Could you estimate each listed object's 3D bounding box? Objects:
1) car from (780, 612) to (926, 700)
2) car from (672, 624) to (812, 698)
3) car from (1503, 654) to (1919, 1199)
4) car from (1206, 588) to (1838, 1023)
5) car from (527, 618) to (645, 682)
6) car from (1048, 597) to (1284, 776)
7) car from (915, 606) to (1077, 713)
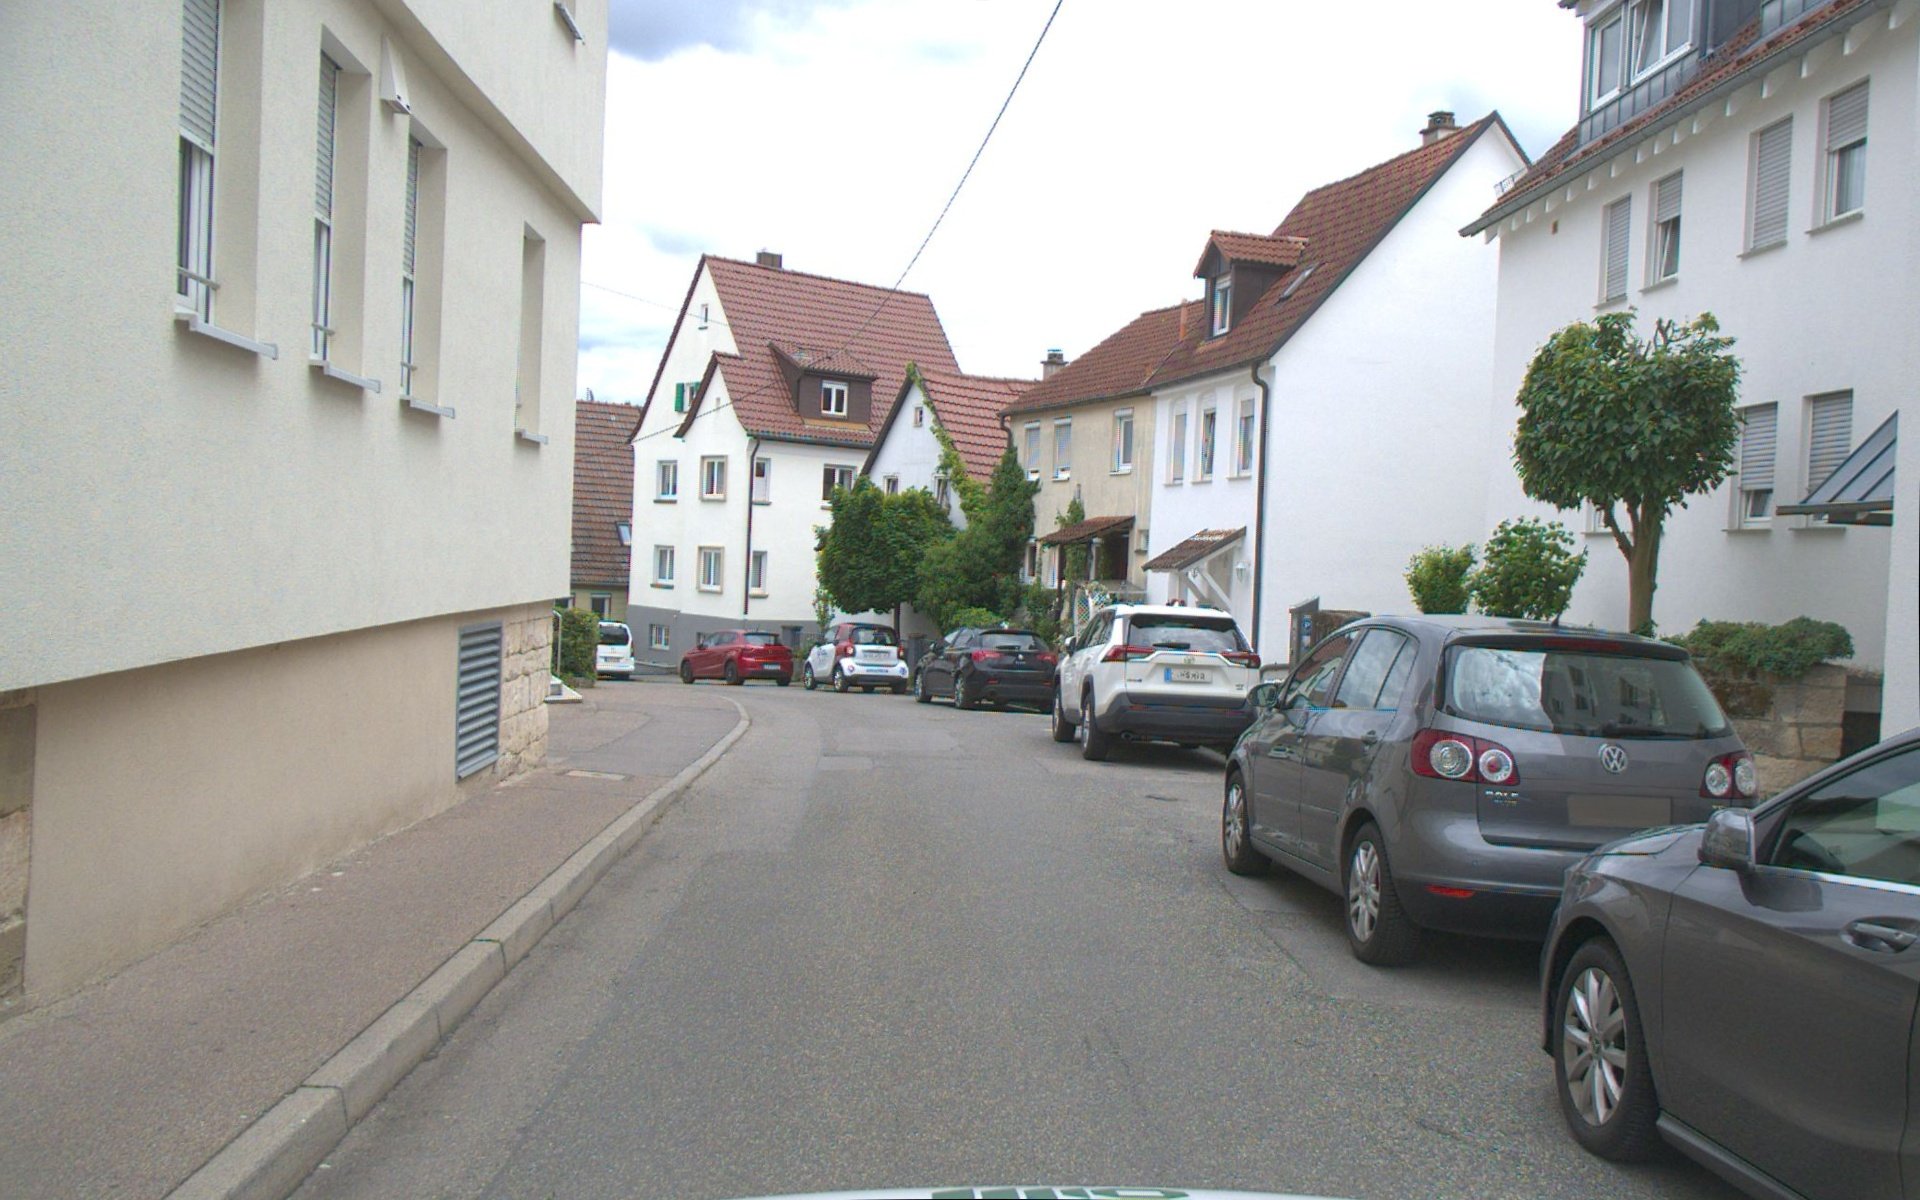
[{"bbox_3d":[-2.537,1.257,38.319,1.939,1.743,3.967,2,1,-26],"label":"car"},{"bbox_3d":[-5.811,1.604,43.672,1.978,1.713,3.949,-4,0,-36],"label":"car"},{"bbox_3d":[2.760,0.873,3.508,1.760,1.376,4.073,2,-1,-1],"label":"car"},{"bbox_3d":[2.594,0.858,8.723,1.702,1.638,3.997,5,-1,-3],"label":"car"},{"bbox_3d":[-11.693,1.515,51.587,2.046,1.673,3.944,0,2,-40],"label":"car"},{"bbox_3d":[2.194,0.899,18.743,1.836,1.743,4.144,2,-1,-4],"label":"car"},{"bbox_3d":[0.560,1.055,29.458,1.959,1.743,3.986,1,-2,-13],"label":"car"}]
